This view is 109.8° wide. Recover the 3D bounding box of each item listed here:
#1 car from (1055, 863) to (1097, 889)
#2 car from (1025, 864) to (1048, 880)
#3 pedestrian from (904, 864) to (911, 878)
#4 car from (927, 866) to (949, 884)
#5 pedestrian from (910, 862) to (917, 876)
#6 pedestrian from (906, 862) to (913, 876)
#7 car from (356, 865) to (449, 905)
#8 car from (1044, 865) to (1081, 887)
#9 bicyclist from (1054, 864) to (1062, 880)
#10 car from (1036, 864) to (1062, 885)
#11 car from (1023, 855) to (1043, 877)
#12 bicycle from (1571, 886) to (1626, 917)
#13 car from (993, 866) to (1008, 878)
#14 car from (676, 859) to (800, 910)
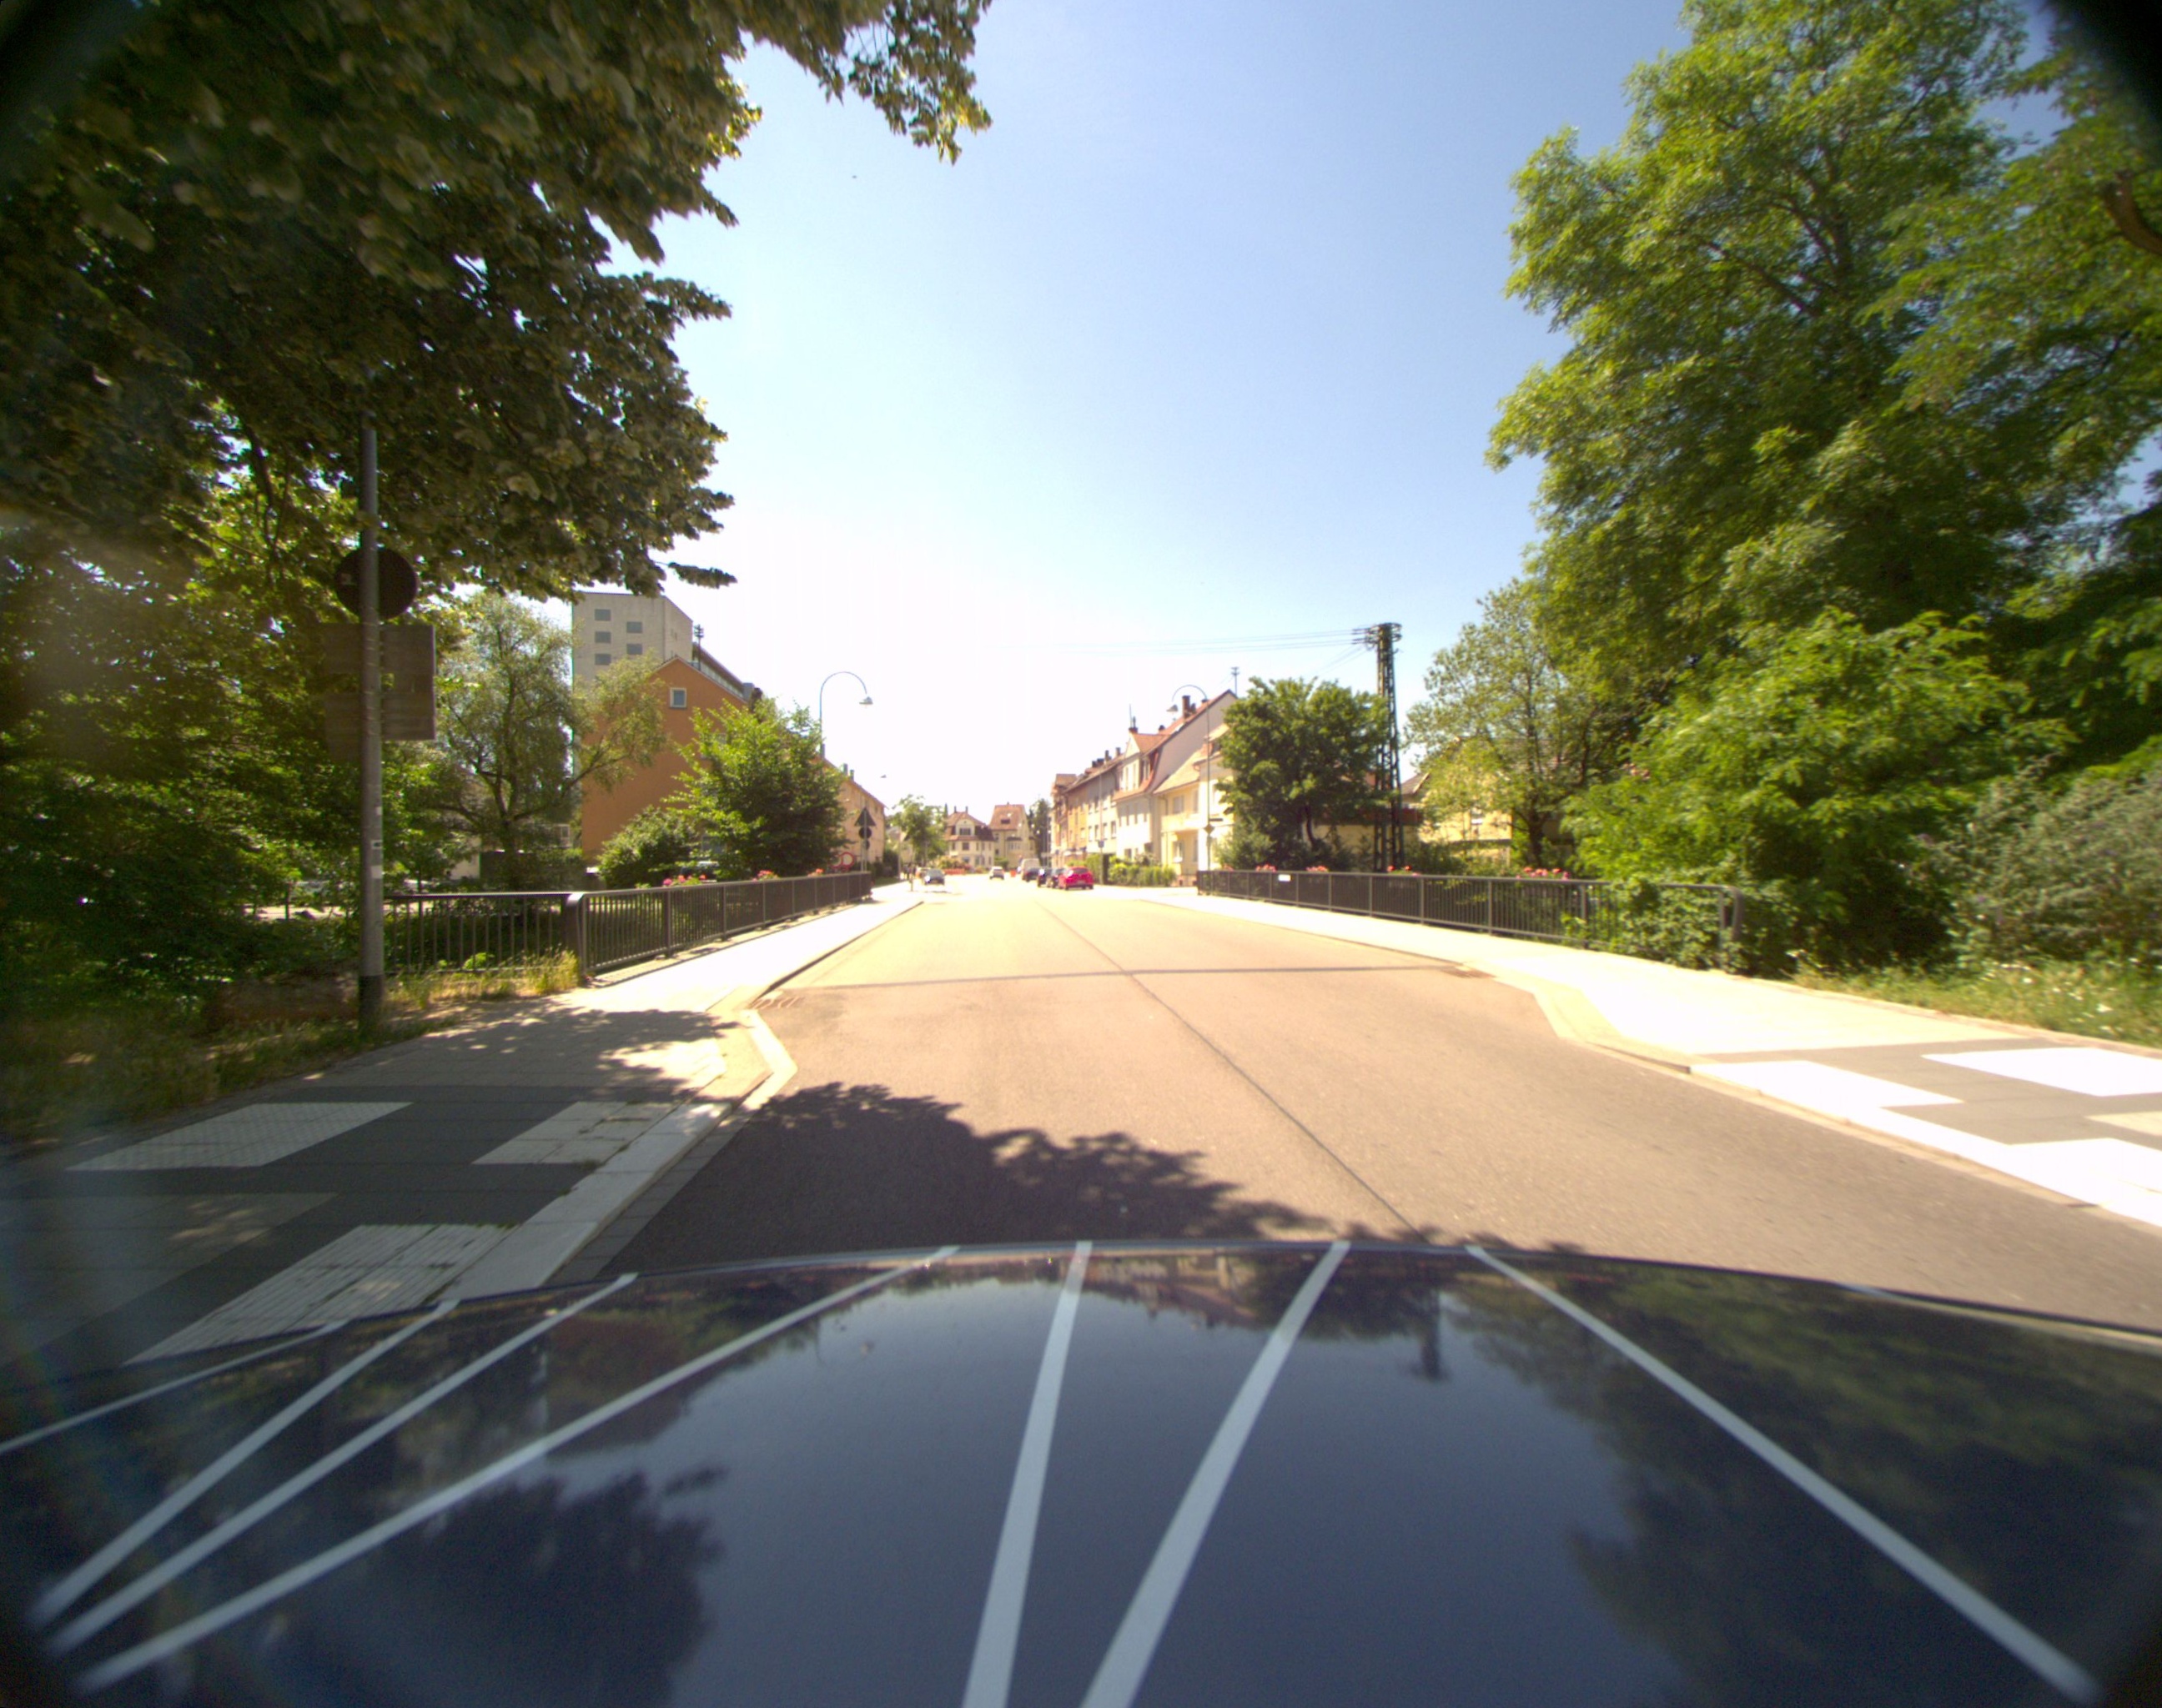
[{"bbox_3d":[-0.356,1.366,48.605,1.884,1.471,4.734,-3,0,-9],"label":"car"},{"bbox_3d":[-4.681,1.918,80.937,2.090,1.605,5.109,-2,-1,0],"label":"car"},{"bbox_3d":[-23.077,2.266,101.059,0.796,1.768,1.007,0,0,-13],"label":"pedestrian"},{"bbox_3d":[-12.944,1.887,68.999,1.840,1.495,5.060,2,-1,-10],"label":"car"},{"bbox_3d":[-21.669,1.956,98.186,0.823,1.842,0.983,0,-1,-13],"label":"pedestrian"},{"bbox_3d":[-22.876,2.011,101.229,0.791,1.800,1.005,2,-1,-13],"label":"pedestrian"},{"bbox_3d":[-32.332,1.420,36.360,2.002,1.772,3.993,0,-1,-20],"label":"car"},{"bbox_3d":[-1.372,1.549,54.357,1.869,1.453,5.303,-2,-1,-10],"label":"car"},{"bbox_3d":[-2.448,1.943,81.038,0.785,1.649,0.834,0,0,-11],"label":"bicyclist"},{"bbox_3d":[-2.574,1.616,60.252,1.793,1.450,4.196,-3,-1,-6],"label":"car"},{"bbox_3d":[-5.841,1.411,92.028,2.125,2.435,6.114,-2,0,-6],"label":"car"},{"bbox_3d":[22.048,2.019,32.413,1.888,1.234,0.560,2,0,5],"label":"bicycle"},{"bbox_3d":[-10.482,2.323,98.619,1.884,1.587,4.357,1,-1,-8],"label":"car"},{"bbox_3d":[-13.761,1.176,30.751,4.354,1.828,1.747,-2,1,-18],"label":"car"}]
